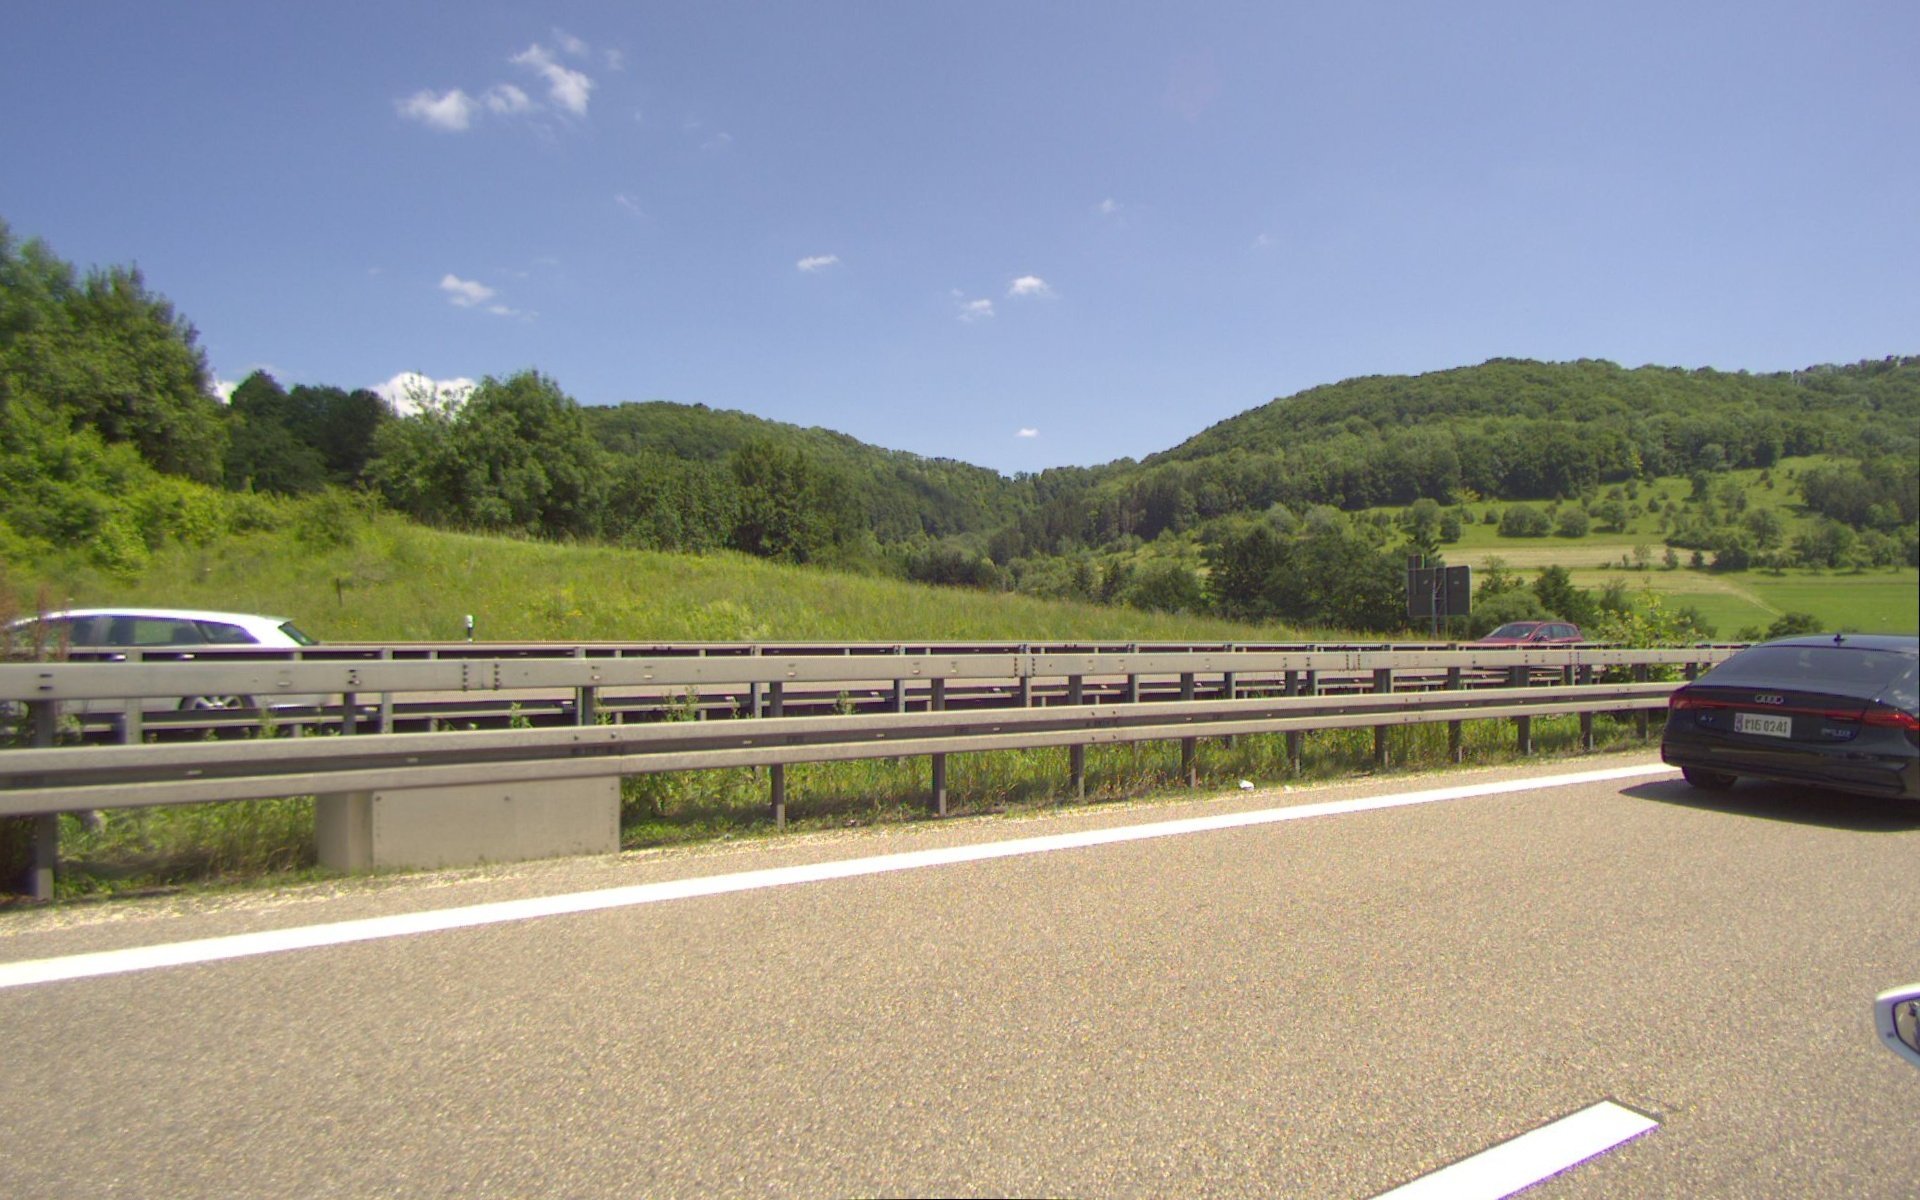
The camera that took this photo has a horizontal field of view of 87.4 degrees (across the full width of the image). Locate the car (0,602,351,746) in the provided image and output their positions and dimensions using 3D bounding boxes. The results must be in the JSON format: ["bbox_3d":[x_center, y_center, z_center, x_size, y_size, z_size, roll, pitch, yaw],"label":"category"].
[{"bbox_3d":[-9.706,0.785,11.622,4.474,1.475,1.984,1,-1,-30],"label":"car"}]

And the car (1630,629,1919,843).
[{"bbox_3d":[8.115,0.989,8.819,4.912,1.409,1.792,1,-1,-31],"label":"car"}]

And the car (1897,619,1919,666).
[{"bbox_3d":[39.843,1.716,40.230,5.165,1.863,1.984,1,-1,-30],"label":"car"}]

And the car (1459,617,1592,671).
[{"bbox_3d":[18.653,1.432,33.064,4.491,1.666,1.816,1,-1,-30],"label":"car"}]
